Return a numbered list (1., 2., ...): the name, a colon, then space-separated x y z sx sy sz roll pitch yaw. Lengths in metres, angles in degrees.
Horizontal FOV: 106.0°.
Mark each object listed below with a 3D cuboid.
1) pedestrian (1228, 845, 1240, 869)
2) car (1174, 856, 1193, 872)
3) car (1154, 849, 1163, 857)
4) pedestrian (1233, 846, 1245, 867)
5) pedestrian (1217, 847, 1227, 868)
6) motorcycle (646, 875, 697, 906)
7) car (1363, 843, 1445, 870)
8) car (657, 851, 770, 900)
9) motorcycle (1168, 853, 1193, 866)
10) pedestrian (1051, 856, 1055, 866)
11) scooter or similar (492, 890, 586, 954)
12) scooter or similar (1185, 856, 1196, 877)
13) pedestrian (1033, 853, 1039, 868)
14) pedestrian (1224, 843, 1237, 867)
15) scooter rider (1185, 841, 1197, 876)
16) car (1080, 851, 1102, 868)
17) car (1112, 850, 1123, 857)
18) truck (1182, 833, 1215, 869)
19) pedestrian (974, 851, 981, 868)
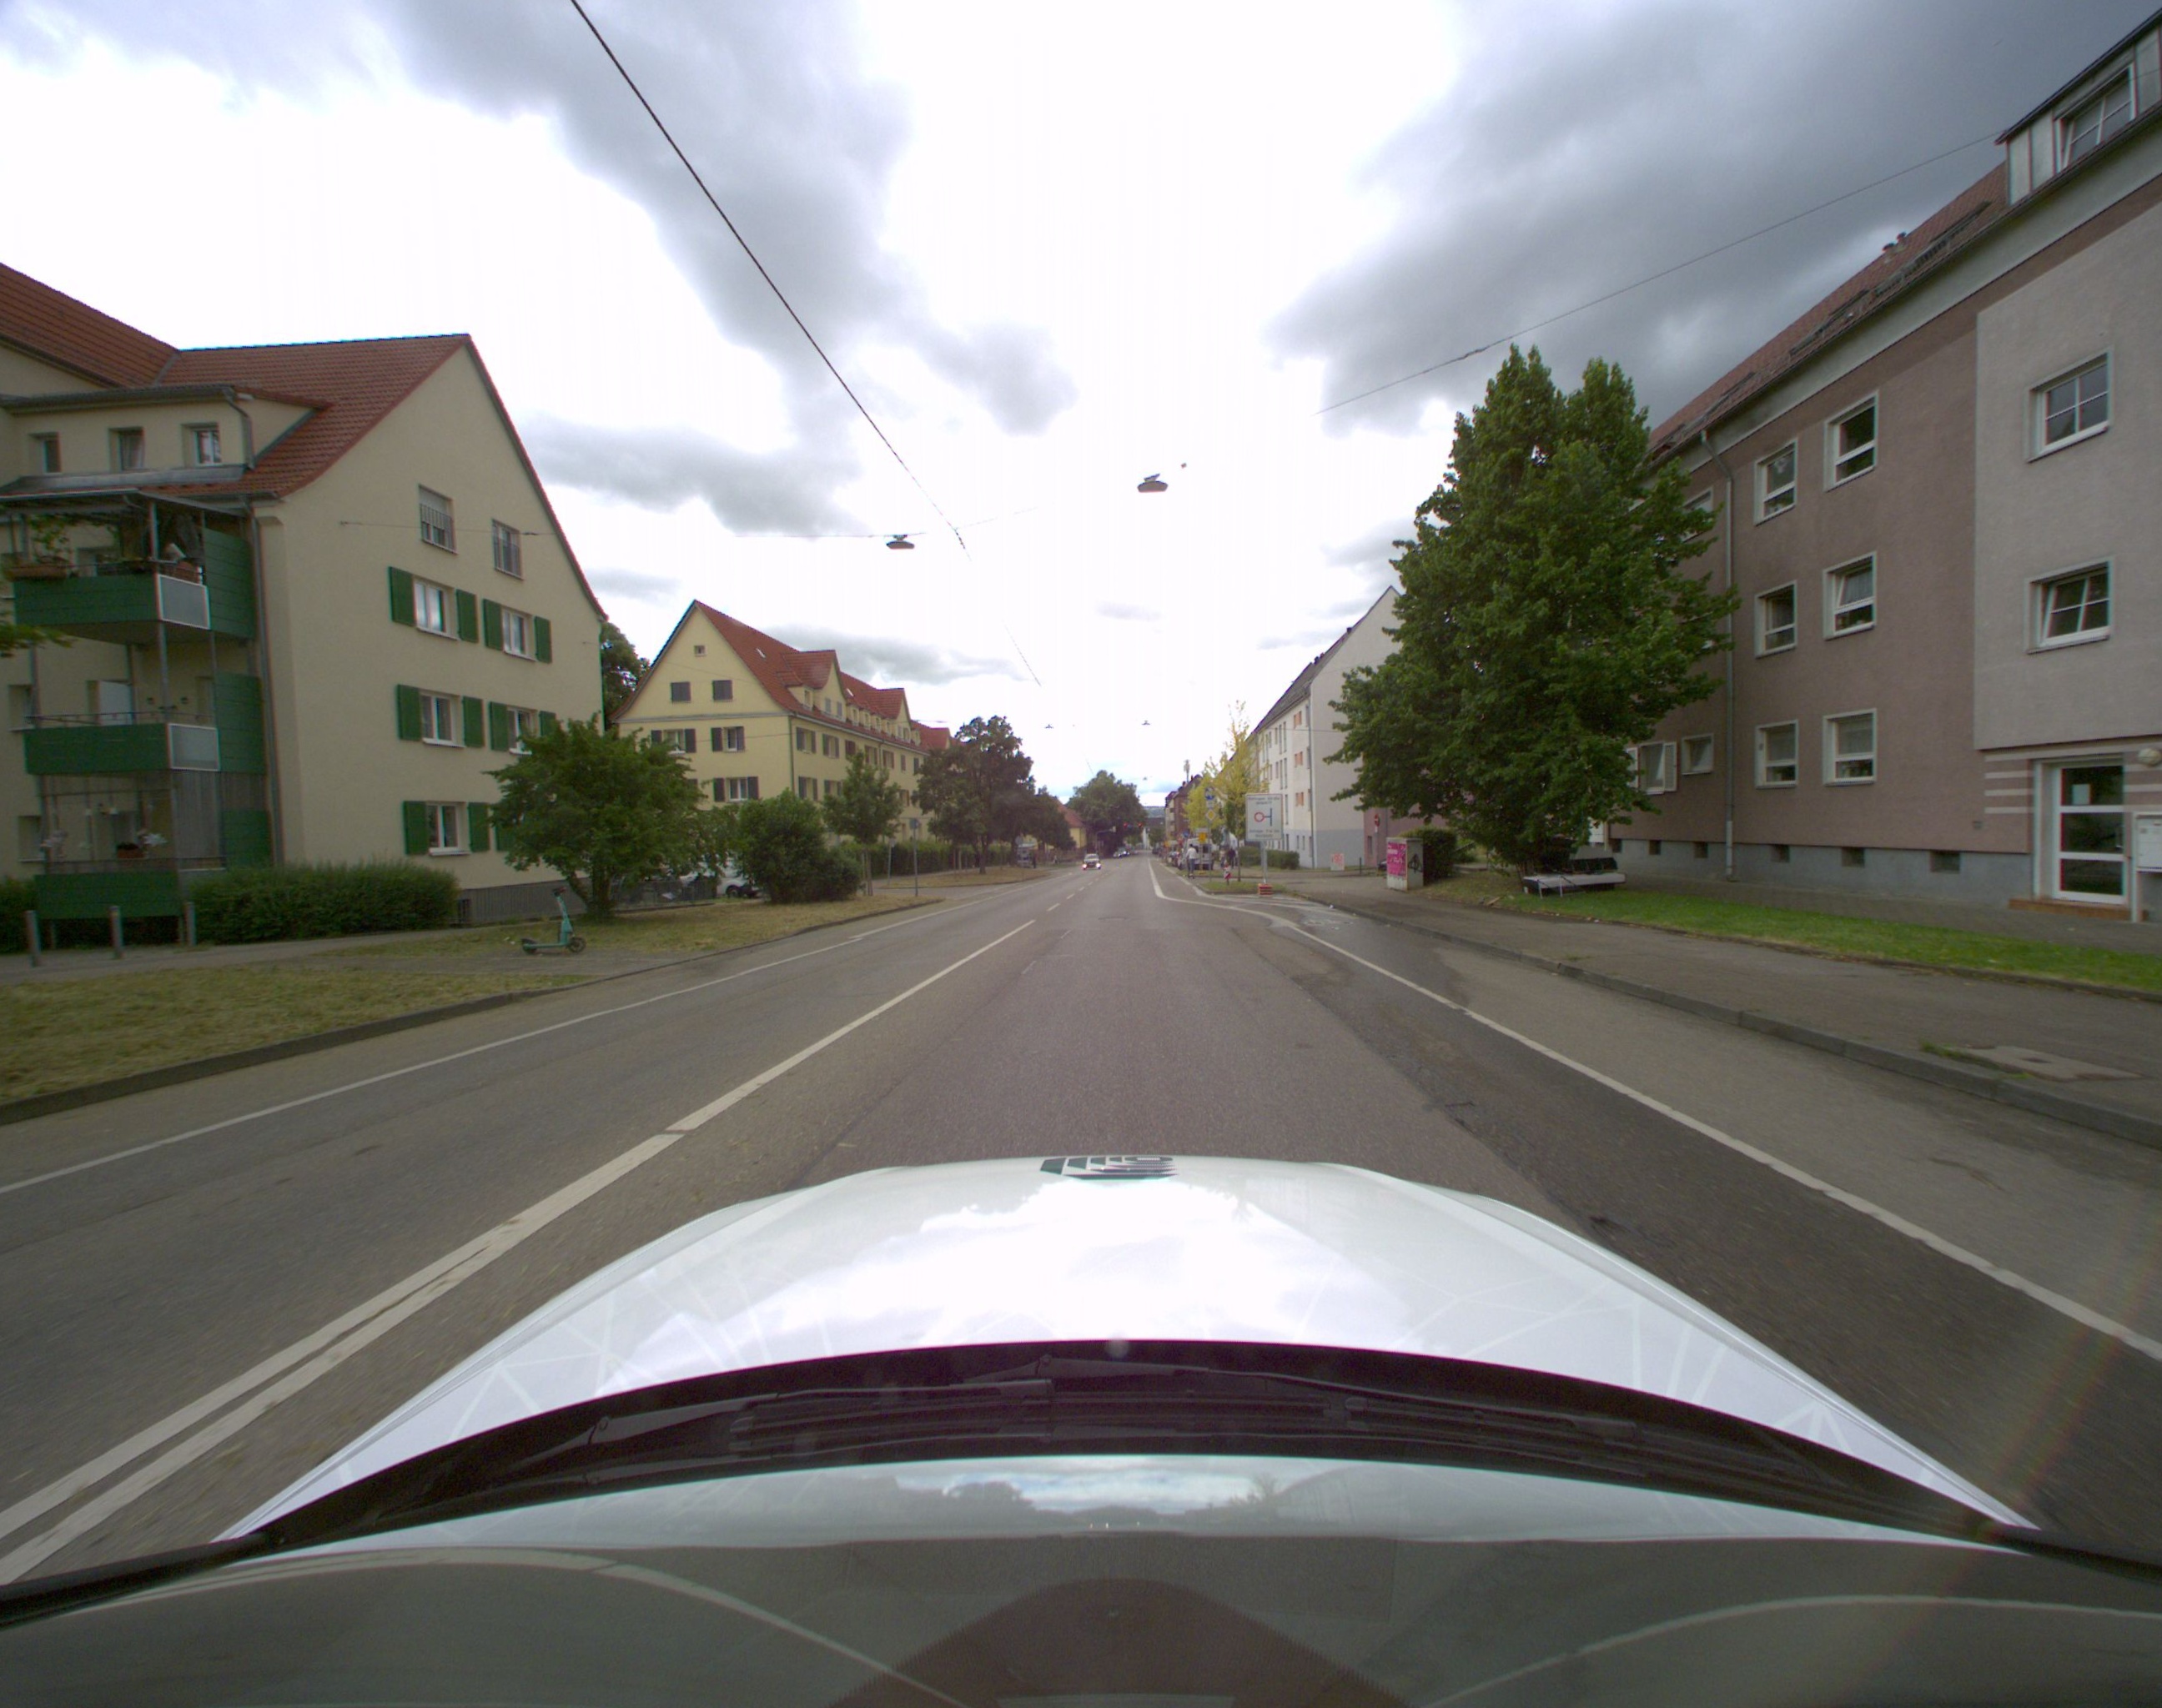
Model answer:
1. pedestrian: 12.343 0.273 65.792 0.671 1.887 0.618 -2 -1 -13
2. car: 10.613 0.972 84.345 1.673 1.544 4.343 -1 0 3
3. car: 21.856 -0.291 229.754 1.986 1.935 4.921 -1 0 2
4. pedestrian: 12.503 0.186 64.520 0.656 1.605 0.574 -6 0 -5
5. pedestrian: 11.281 0.302 65.276 0.576 1.644 0.559 -2 -1 -10
6. motorcycle: -18.638 1.637 37.021 2.572 1.278 1.023 -1 0 37
7. car: 18.189 0.139 46.046 3.967 1.456 1.763 -1 0 5
8. car: -18.309 1.052 40.726 4.696 2.253 1.997 -2 0 4
9. motorcycle: 10.683 0.566 87.649 2.589 1.278 0.753 -1 0 0
10. pedestrian: -4.999 1.310 145.064 0.561 1.777 0.718 -1 0 4
11. scooter or similar: -9.944 1.240 14.961 1.365 1.086 0.467 -2 0 -1
12. scooter or similar: 6.337 0.728 47.049 0.488 1.163 2.077 -1 0 4
13. pedestrian: -5.221 0.753 94.670 0.594 1.726 0.863 -1 0 7
14. pedestrian: 11.781 0.075 64.179 0.670 1.887 0.764 -2 -1 -8
15. scooter rider: 6.363 0.271 47.160 0.623 2.013 0.758 -1 0 3
16. car: 1.094 0.537 85.037 1.890 1.620 4.368 -1 0 5
17. car: 7.747 -0.074 171.740 1.746 1.472 4.316 -3 0 8
18. truck: 8.972 -0.256 62.595 2.044 2.565 5.695 -1 0 3
19. pedestrian: -10.472 0.558 82.173 0.511 1.779 0.754 -1 0 4
